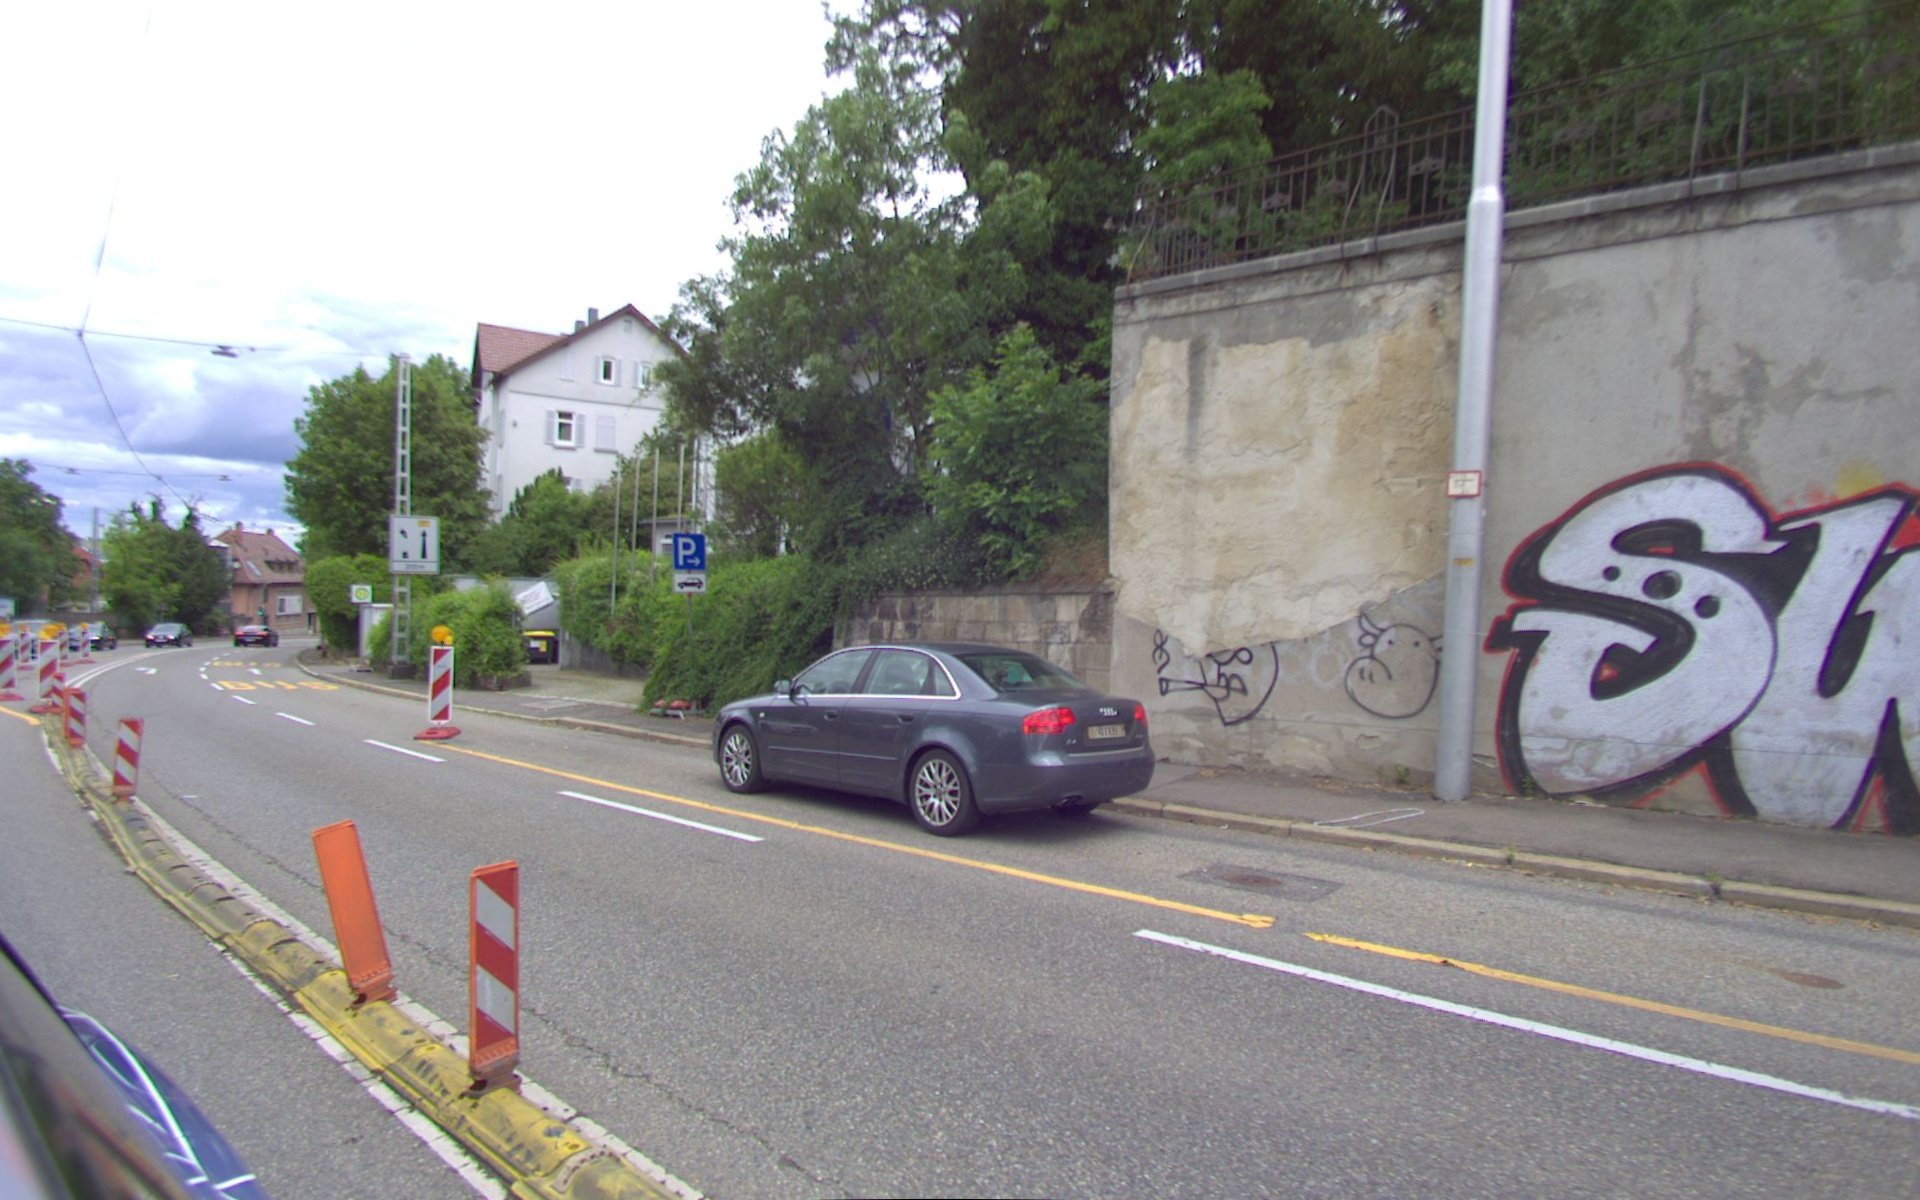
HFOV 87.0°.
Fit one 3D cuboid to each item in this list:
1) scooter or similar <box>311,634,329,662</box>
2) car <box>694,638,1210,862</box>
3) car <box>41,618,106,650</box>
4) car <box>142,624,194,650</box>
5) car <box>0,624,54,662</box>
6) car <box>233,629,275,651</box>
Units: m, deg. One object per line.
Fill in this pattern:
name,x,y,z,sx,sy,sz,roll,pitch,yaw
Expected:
scooter or similar,-29.086,2.185,45.982,0.423,1.218,1.283,-1,0,-44
car,-0.283,1.050,8.580,4.389,1.383,1.779,-2,-4,44
car,-45.103,1.704,51.557,1.769,1.522,4.012,0,-1,-31
car,-48.169,2.245,61.636,1.762,1.492,4.258,0,-2,-28
car,-40.225,1.805,43.143,1.770,1.522,4.010,3,-3,-34
car,-46.898,2.672,67.322,1.795,1.402,4.451,3,-3,-29
